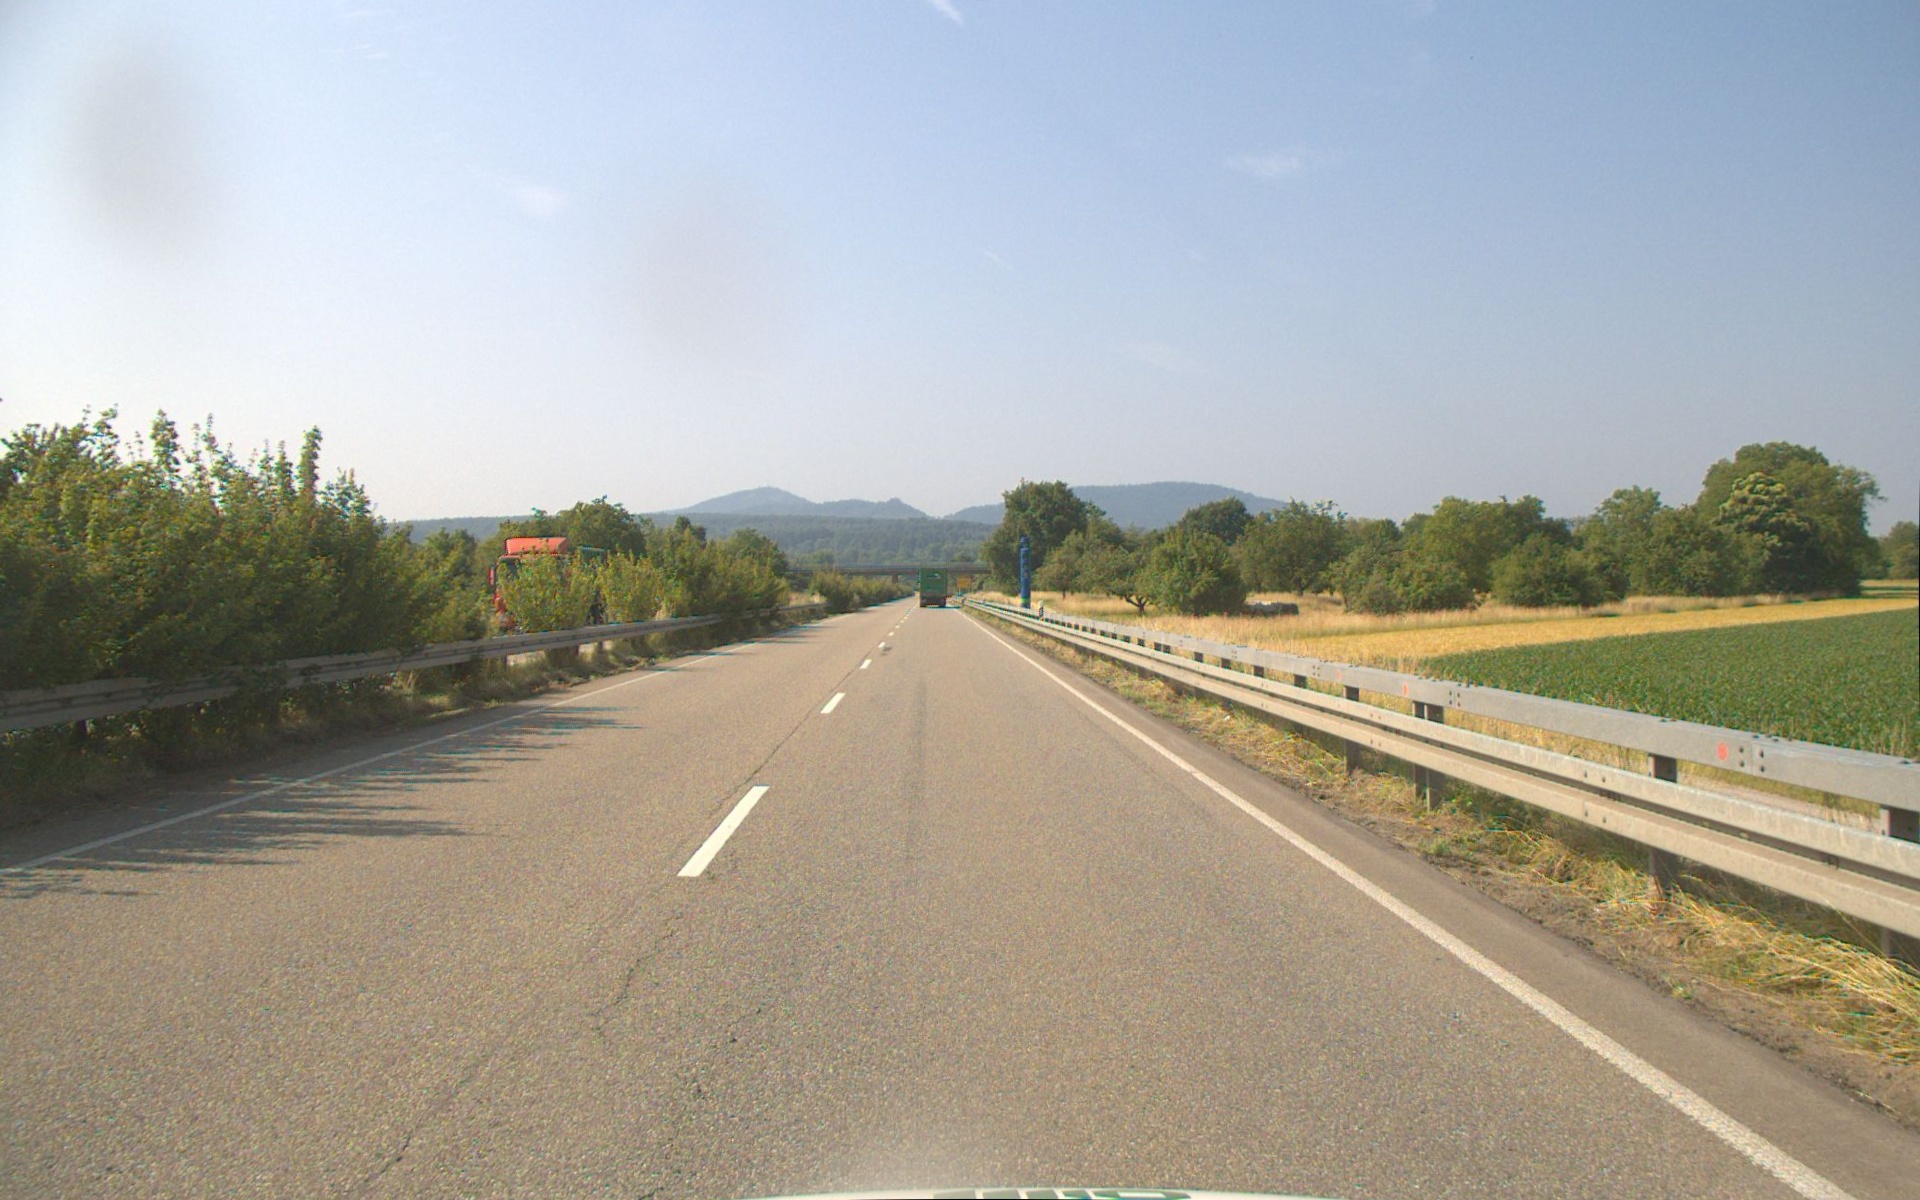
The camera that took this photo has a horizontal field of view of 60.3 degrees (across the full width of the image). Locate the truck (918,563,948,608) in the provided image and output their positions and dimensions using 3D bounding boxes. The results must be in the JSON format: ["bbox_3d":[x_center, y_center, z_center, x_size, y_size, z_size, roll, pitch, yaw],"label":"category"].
[{"bbox_3d":[-2.527,-1.469,157.887,2.667,4.034,10.415,1,1,-1],"label":"truck"}]

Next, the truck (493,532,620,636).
[{"bbox_3d":[-15.370,-0.581,63.835,2.550,3.651,10.383,0,0,-1],"label":"truck"}]
